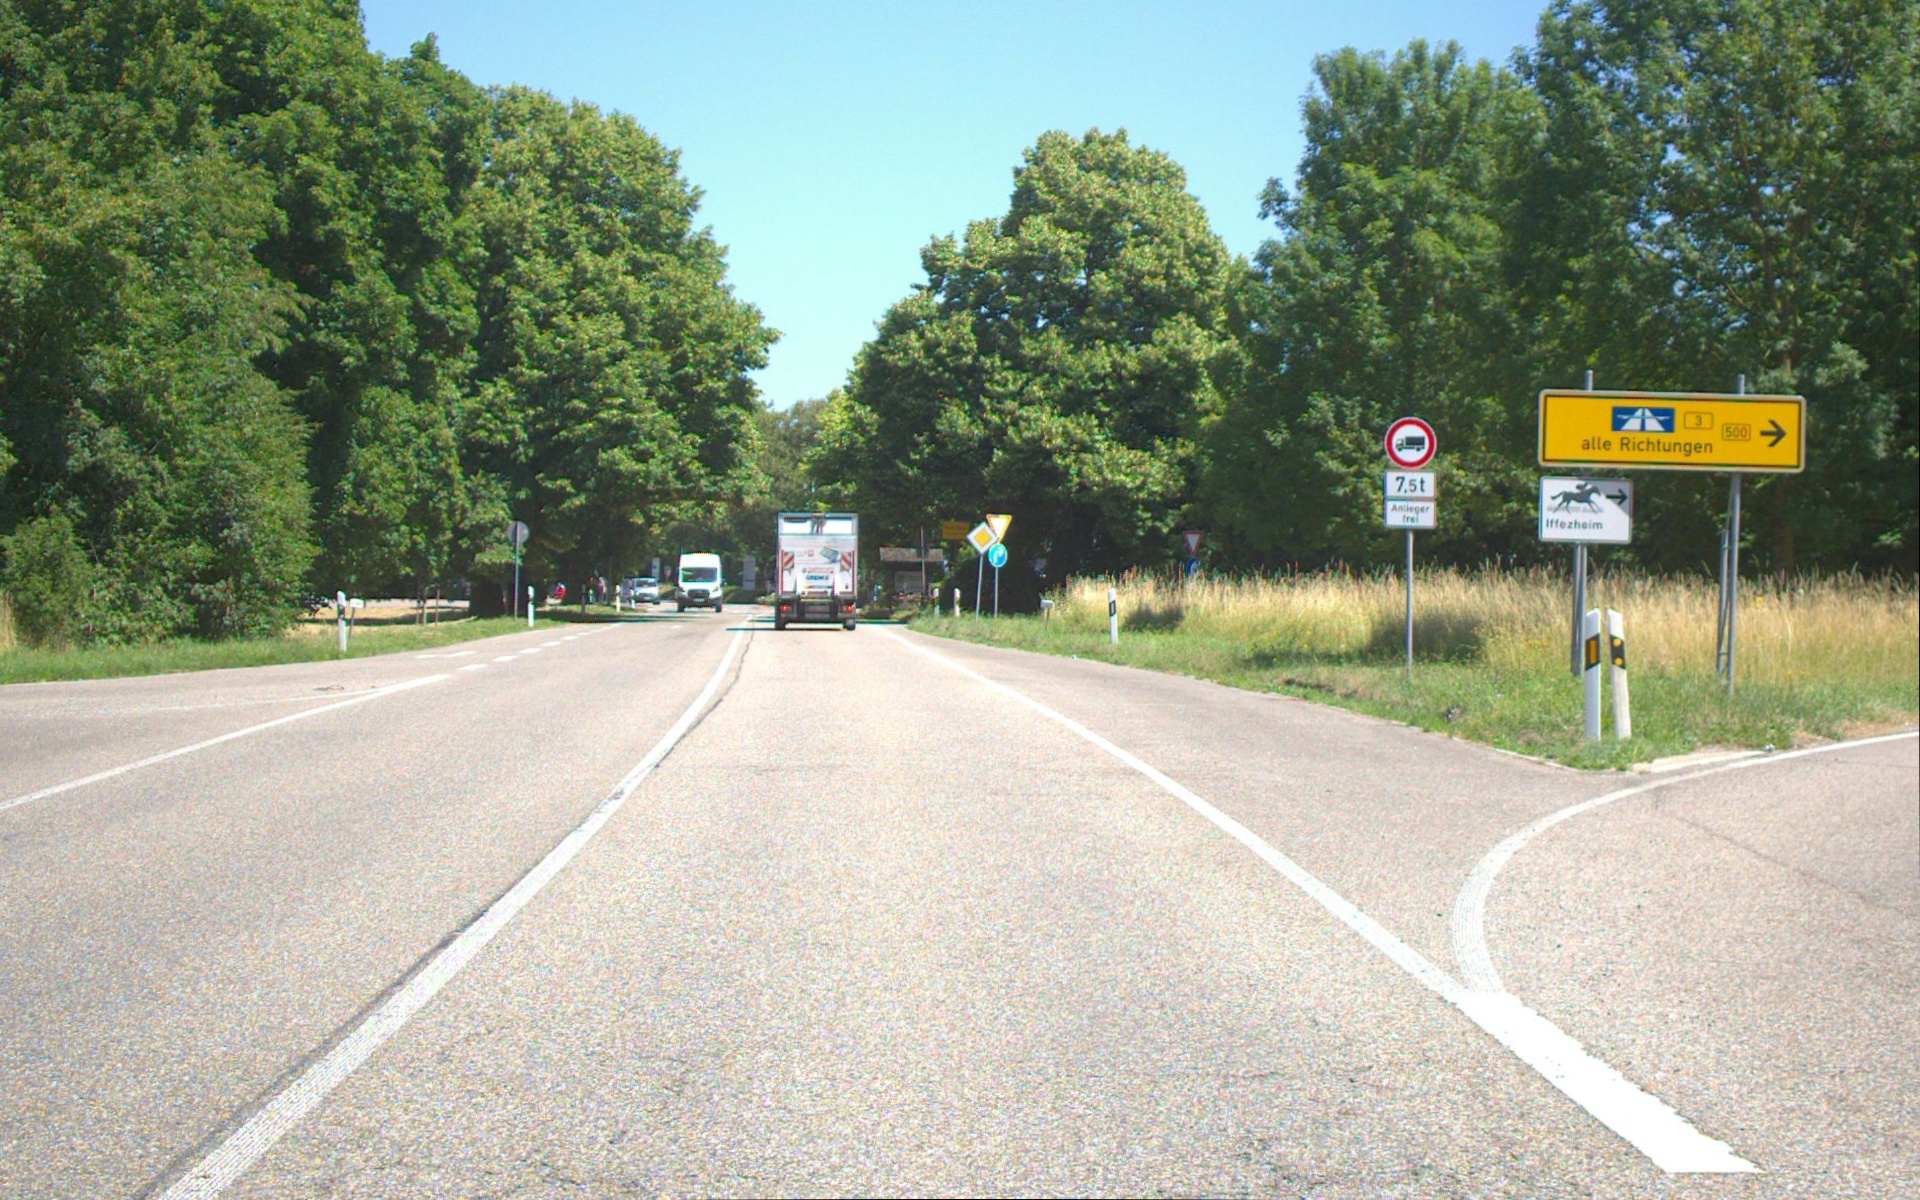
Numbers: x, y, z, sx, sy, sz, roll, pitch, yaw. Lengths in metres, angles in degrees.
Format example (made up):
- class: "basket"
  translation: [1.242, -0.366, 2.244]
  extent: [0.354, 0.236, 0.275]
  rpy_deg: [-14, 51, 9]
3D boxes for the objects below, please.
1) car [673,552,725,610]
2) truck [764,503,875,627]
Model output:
- class: "car"
  translation: [-12.125, -0.863, 160.201]
  extent: [2.073, 2.618, 6.784]
  rpy_deg: [0, 0, -2]
- class: "truck"
  translation: [-3.602, -0.926, 89.155]
  extent: [2.534, 3.124, 5.361]
  rpy_deg: [0, 1, 1]
